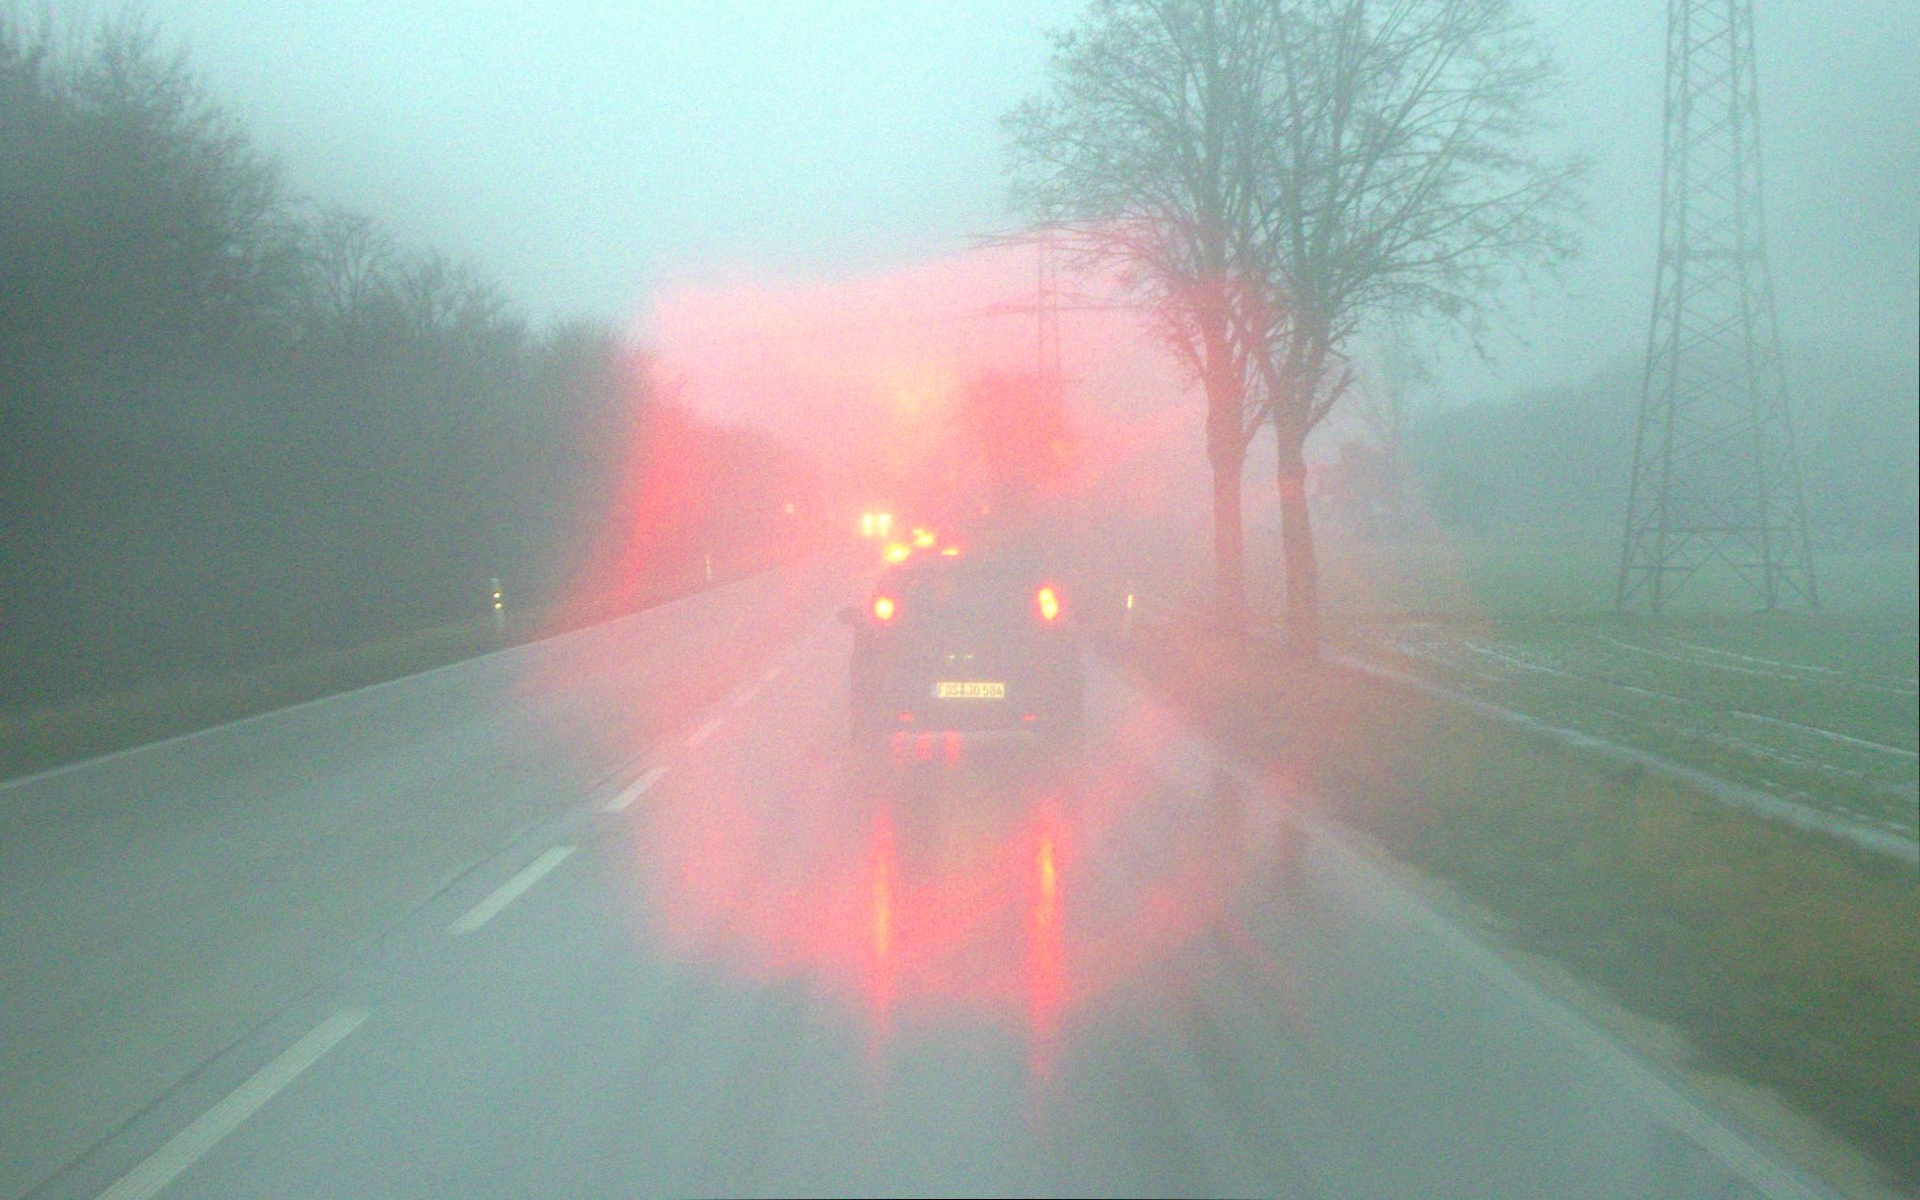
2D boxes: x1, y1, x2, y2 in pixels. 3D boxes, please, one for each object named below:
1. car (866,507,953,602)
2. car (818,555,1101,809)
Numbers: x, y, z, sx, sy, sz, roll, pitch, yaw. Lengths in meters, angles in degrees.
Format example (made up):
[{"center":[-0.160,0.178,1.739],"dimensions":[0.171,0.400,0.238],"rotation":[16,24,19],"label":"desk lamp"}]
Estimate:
[{"center":[-1.233,-1.125,83.199],"dimensions":[1.993,2.006,4.001],"rotation":[2,4,-1],"label":"car"},{"center":[-0.023,0.550,26.242],"dimensions":[1.993,1.746,4.000],"rotation":[0,1,-1],"label":"car"}]
